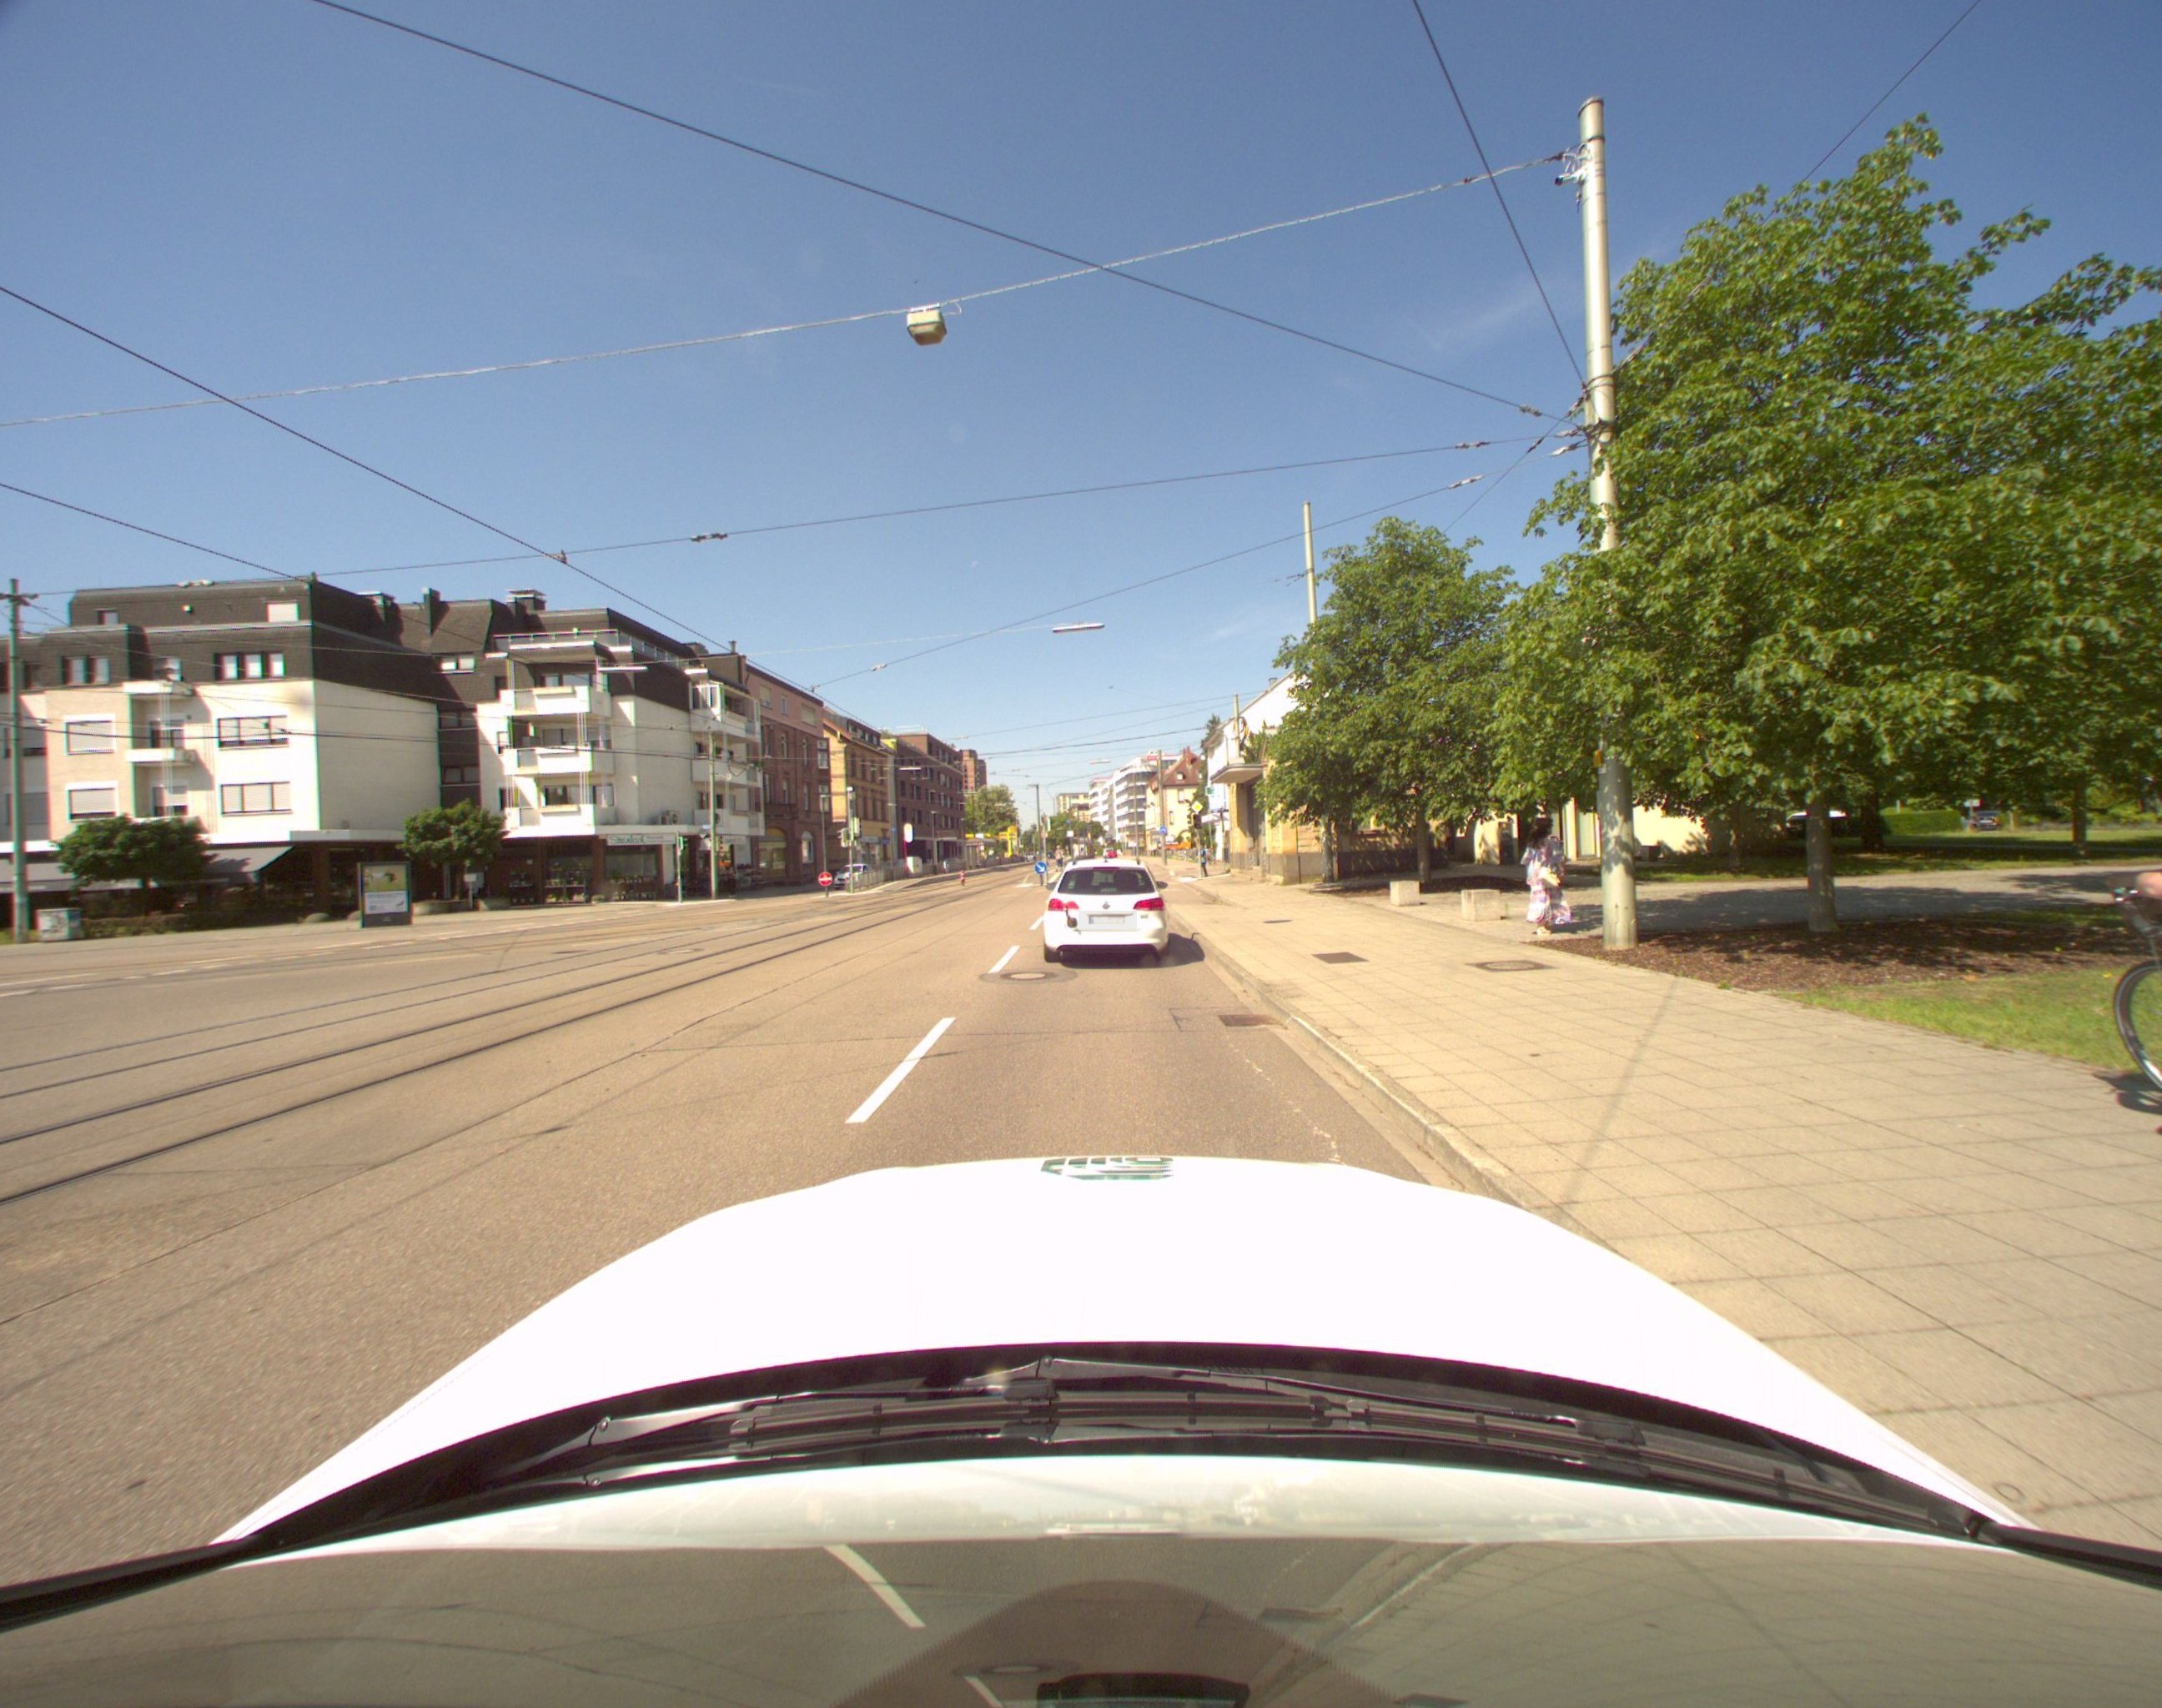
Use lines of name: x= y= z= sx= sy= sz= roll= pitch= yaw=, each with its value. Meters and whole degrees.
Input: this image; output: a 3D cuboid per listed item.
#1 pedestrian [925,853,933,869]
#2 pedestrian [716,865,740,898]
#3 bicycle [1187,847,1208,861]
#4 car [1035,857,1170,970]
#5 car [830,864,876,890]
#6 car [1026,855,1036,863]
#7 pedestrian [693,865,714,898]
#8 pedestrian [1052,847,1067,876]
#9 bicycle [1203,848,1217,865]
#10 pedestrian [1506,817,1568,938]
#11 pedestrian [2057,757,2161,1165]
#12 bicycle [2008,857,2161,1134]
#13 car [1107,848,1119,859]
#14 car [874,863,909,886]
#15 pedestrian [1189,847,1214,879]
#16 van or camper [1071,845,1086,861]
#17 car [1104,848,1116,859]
pedestrian: x=-17.770 y=0.782 z=95.077 sx=0.722 sy=1.791 sz=0.965 roll=-1 pitch=0 yaw=2
pedestrian: x=-18.787 y=1.456 z=43.388 sx=0.875 sy=1.647 sz=0.681 roll=-3 pitch=0 yaw=1
bicycle: x=10.005 y=-0.011 z=70.213 sx=1.704 sy=1.130 sz=0.526 roll=-3 pitch=0 yaw=3
car: x=0.428 y=0.785 z=12.461 sx=1.745 sy=1.418 sz=3.858 roll=0 pitch=0 yaw=4
car: x=-13.816 y=1.360 z=49.498 sx=1.620 sy=1.431 sz=3.963 roll=-1 pitch=0 yaw=1
car: x=-10.042 y=1.007 z=163.447 sx=1.661 sy=1.466 sz=3.775 roll=-3 pitch=0 yaw=2
pedestrian: x=-19.911 y=1.440 z=43.010 sx=0.676 sy=1.647 sz=0.732 roll=-3 pitch=0 yaw=1
pedestrian: x=-1.378 y=0.494 z=53.068 sx=0.823 sy=1.809 sz=0.834 roll=-3 pitch=0 yaw=3
bicycle: x=9.350 y=0.194 z=59.080 sx=0.720 sy=1.139 sz=2.203 roll=-3 pitch=0 yaw=15
pedestrian: x=6.558 y=0.330 z=11.748 sx=0.644 sy=1.682 sz=0.711 roll=-3 pitch=0 yaw=23
pedestrian: x=4.318 y=0.389 z=2.995 sx=0.538 sy=1.548 sz=0.663 roll=-5 pitch=0 yaw=2
bicycle: x=4.639 y=0.588 z=3.040 sx=0.532 sy=1.111 sz=1.813 roll=-3 pitch=-1 yaw=12
car: x=6.372 y=-0.165 z=161.092 sx=1.988 sy=2.013 sz=3.997 roll=-3 pitch=0 yaw=-2
car: x=-13.294 y=1.393 z=57.396 sx=1.568 sy=1.459 sz=3.812 roll=-3 pitch=0 yaw=-1
pedestrian: x=5.872 y=0.430 z=39.733 sx=0.863 sy=1.510 sz=0.772 roll=-3 pitch=0 yaw=-43
van or camper: x=-0.413 y=-0.194 z=170.594 sx=2.934 sy=3.179 sz=6.612 roll=-3 pitch=0 yaw=0
car: x=5.883 y=-0.142 z=166.529 sx=1.988 sy=2.013 sz=3.997 roll=-3 pitch=0 yaw=-2
